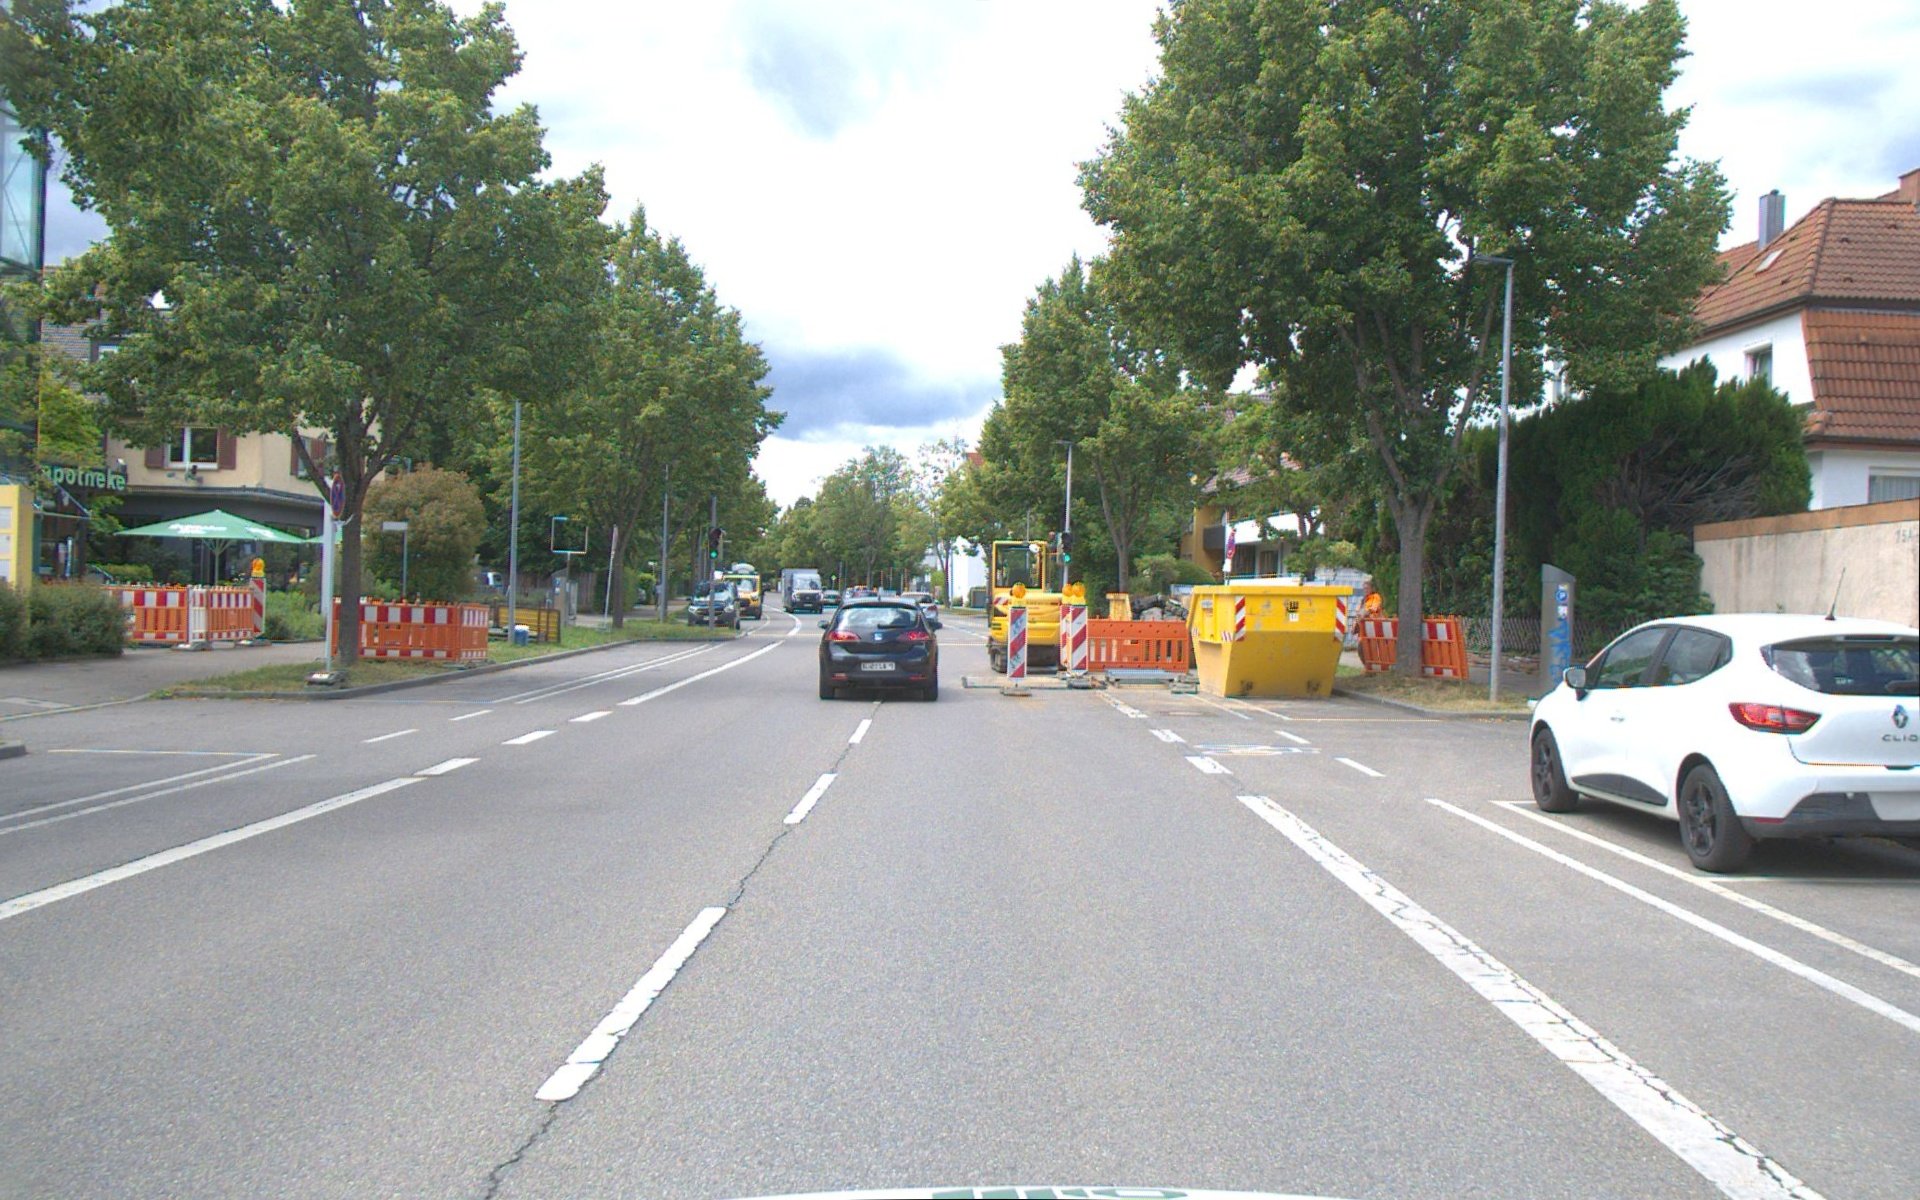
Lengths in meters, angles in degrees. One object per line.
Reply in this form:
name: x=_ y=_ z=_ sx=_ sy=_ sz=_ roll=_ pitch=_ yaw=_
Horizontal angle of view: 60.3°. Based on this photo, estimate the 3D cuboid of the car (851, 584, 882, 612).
car: x=-5.610 y=-0.145 z=98.684 sx=1.756 sy=1.651 sz=3.736 roll=0 pitch=0 yaw=-4

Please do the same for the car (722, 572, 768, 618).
car: x=-10.646 y=-0.257 z=82.107 sx=2.052 sy=2.213 sz=5.039 roll=1 pitch=0 yaw=-5

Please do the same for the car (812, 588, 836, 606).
car: x=-10.713 y=-0.236 z=130.405 sx=1.774 sy=1.399 sz=3.690 roll=1 pitch=0 yaw=-4

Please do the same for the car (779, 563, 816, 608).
car: x=-10.706 y=-0.960 z=109.339 sx=2.243 sy=2.840 sz=7.137 roll=0 pitch=0 yaw=-5

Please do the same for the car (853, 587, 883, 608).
car: x=-6.401 y=-0.186 z=114.817 sx=1.776 sy=1.440 sz=3.686 roll=1 pitch=0 yaw=-8

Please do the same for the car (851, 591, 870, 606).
car: x=-9.404 y=-0.152 z=156.343 sx=1.774 sy=1.440 sz=3.691 roll=1 pitch=0 yaw=-3

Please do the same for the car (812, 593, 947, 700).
car: x=-1.129 y=0.639 z=24.744 sx=1.781 sy=1.463 sz=3.740 roll=0 pitch=0 yaw=1

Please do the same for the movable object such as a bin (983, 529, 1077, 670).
movable object such as a bin: x=1.345 y=-0.021 z=33.071 sx=1.732 sy=2.619 sz=3.740 roll=1 pitch=0 yaw=1

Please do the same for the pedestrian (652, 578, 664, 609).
pedestrian: x=-17.066 y=-0.370 z=93.549 sx=0.584 sy=1.772 sz=0.573 roll=1 pitch=0 yaw=-6

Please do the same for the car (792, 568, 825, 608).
car: x=-9.431 y=-0.724 z=103.236 sx=1.989 sy=2.426 sz=5.257 roll=0 pitch=0 yaw=-5

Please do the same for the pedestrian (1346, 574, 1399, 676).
pedestrian: x=6.824 y=0.404 z=27.378 sx=0.689 sy=1.663 sz=0.643 roll=1 pitch=0 yaw=0

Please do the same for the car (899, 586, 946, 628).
car: x=-1.583 y=0.267 z=68.563 sx=1.868 sy=1.715 sz=3.738 roll=0 pitch=0 yaw=-3

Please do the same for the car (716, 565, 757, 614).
car: x=-12.533 y=-0.608 z=92.909 sx=2.052 sy=2.672 sz=5.039 roll=1 pitch=0 yaw=-5

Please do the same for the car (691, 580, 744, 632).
car: x=-8.838 y=0.196 z=60.556 sx=1.634 sy=1.803 sz=4.463 roll=0 pitch=0 yaw=-5

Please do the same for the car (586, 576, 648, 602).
car: x=-21.339 y=-0.685 z=102.989 sx=3.611 sy=1.622 sz=1.677 roll=1 pitch=0 yaw=-6

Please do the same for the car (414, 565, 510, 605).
car: x=-23.301 y=-0.696 z=77.479 sx=3.904 sy=1.800 sz=1.746 roll=1 pitch=0 yaw=2

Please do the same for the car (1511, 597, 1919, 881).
car: x=5.077 y=0.741 z=10.805 sx=1.638 sy=1.488 sz=4.000 roll=1 pitch=0 yaw=0
